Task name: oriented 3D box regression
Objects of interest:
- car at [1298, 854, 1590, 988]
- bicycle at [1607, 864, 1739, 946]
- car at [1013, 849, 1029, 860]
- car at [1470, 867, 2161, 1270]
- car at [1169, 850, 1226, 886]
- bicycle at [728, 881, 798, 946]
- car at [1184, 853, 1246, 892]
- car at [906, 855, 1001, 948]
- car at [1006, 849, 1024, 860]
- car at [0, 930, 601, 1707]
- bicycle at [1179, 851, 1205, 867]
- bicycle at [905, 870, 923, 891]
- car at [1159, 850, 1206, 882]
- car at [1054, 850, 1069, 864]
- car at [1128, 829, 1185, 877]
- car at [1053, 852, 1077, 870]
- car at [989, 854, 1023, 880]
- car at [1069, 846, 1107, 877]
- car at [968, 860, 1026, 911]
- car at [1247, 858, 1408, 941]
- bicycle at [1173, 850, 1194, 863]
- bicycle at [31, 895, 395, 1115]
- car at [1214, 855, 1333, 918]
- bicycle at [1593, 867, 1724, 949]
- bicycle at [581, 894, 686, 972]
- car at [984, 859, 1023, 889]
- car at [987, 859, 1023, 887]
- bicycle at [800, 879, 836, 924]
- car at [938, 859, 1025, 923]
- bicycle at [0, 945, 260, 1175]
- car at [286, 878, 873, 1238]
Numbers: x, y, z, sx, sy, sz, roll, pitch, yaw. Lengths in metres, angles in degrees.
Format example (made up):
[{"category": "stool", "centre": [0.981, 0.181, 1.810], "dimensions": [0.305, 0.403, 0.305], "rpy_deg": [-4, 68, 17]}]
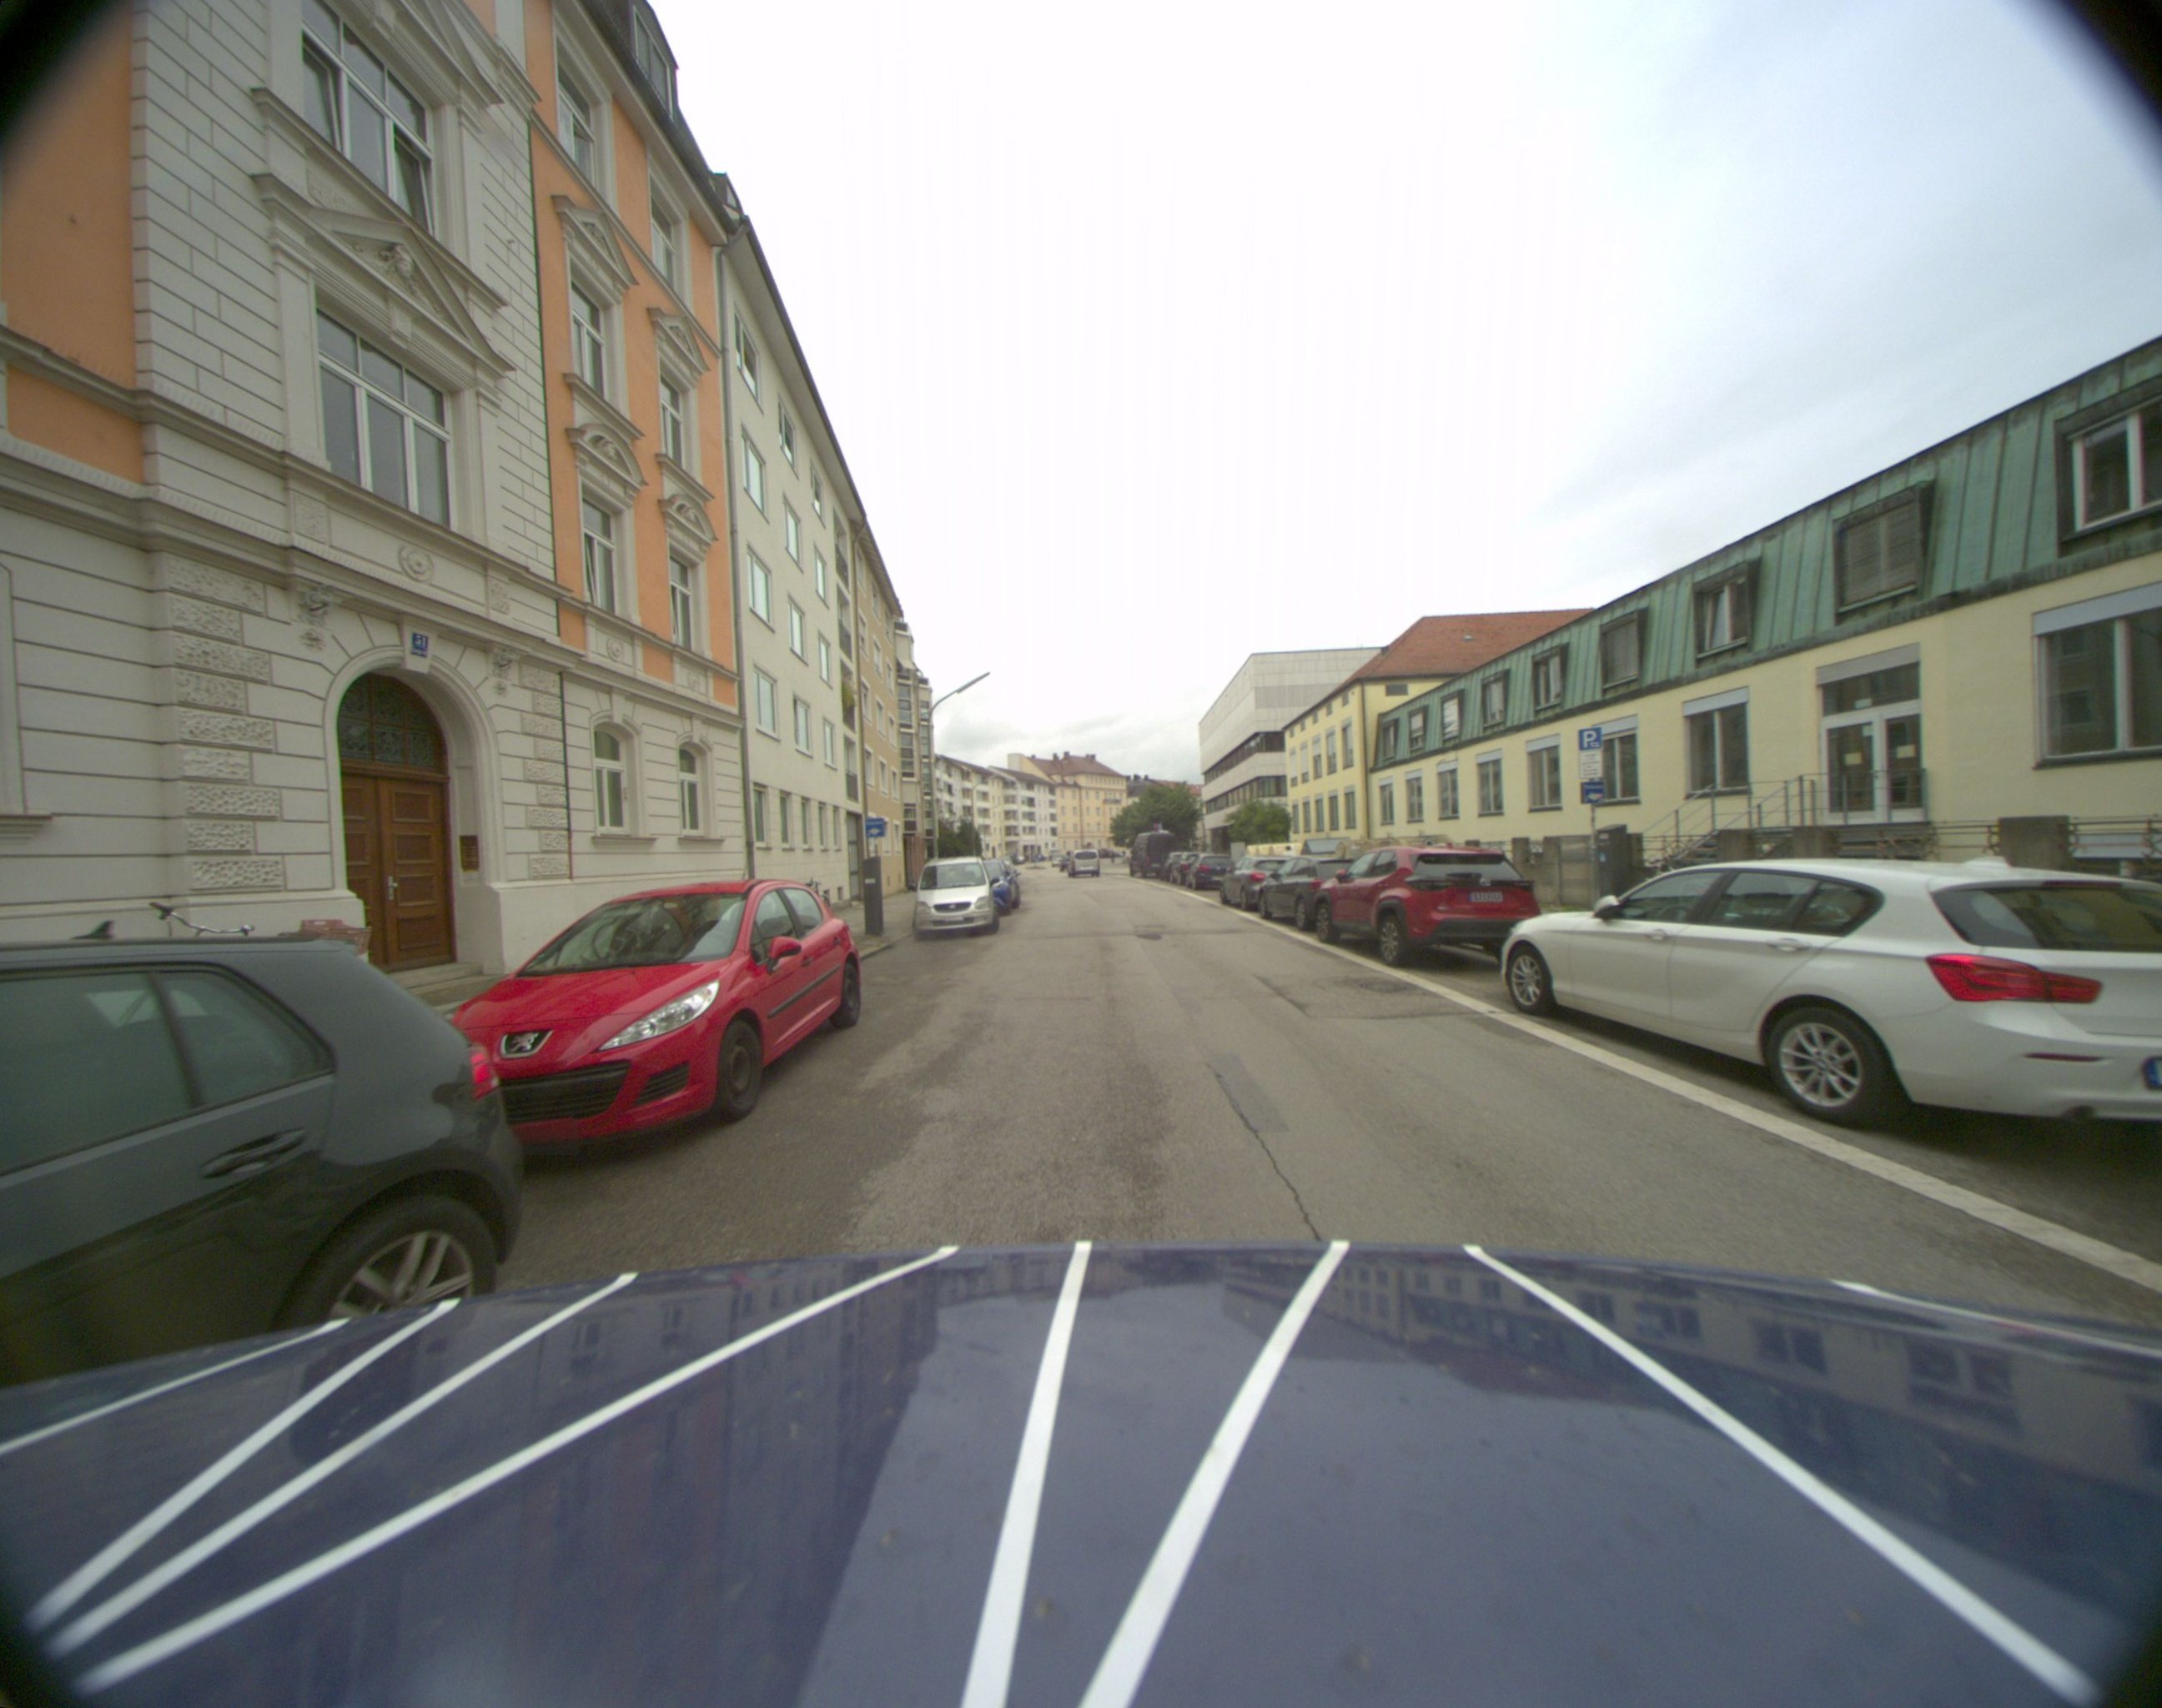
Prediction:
[{"category": "car", "centre": [4.807, 0.767, 10.974], "dimensions": [1.963, 1.473, 4.528], "rpy_deg": [0, 1, -1]}, {"category": "bicycle", "centre": [9.653, 0.781, 12.507], "dimensions": [0.536, 1.178, 2.106], "rpy_deg": [-2, 1, 1]}, {"category": "car", "centre": [-9.649, 0.119, 121.946], "dimensions": [1.998, 1.630, 4.000], "rpy_deg": [-2, 1, 2]}, {"category": "car", "centre": [4.826, 0.891, 5.284], "dimensions": [1.798, 1.421, 4.664], "rpy_deg": [1, 1, 0]}, {"category": "car", "centre": [5.484, 0.645, 36.223], "dimensions": [1.918, 1.578, 4.351], "rpy_deg": [1, 0, -2]}, {"category": "bicycle", "centre": [-6.320, 1.151, 15.220], "dimensions": [0.725, 1.106, 1.993], "rpy_deg": [-2, 0, -7]}, {"category": "car", "centre": [5.458, 0.723, 31.461], "dimensions": [1.918, 1.473, 4.532], "rpy_deg": [1, 0, 2]}, {"category": "car", "centre": [-2.656, 0.909, 16.538], "dimensions": [1.686, 1.664, 3.802], "rpy_deg": [-4, 1, -6]}, {"category": "car", "centre": [-9.887, 0.046, 113.825], "dimensions": [1.998, 1.587, 4.000], "rpy_deg": [-2, 1, 3]}, {"category": "car", "centre": [-2.815, 1.057, 0.738], "dimensions": [1.691, 1.394, 4.364], "rpy_deg": [-3, 1, 3]}, {"category": "bicycle", "centre": [8.516, 0.377, 58.333], "dimensions": [1.815, 1.145, 0.519], "rpy_deg": [-3, 1, -1]}, {"category": "bicycle", "centre": [-8.930, 1.395, 40.741], "dimensions": [0.678, 1.027, 1.752], "rpy_deg": [-2, 1, -5]}, {"category": "car", "centre": [5.378, 0.601, 40.729], "dimensions": [1.885, 1.626, 4.348], "rpy_deg": [1, 0, -1]}, {"category": "car", "centre": [-2.438, 0.386, 93.544], "dimensions": [1.797, 1.663, 4.148], "rpy_deg": [-3, 0, -2]}, {"category": "car", "centre": [4.597, -0.081, 47.259], "dimensions": [2.220, 2.837, 6.192], "rpy_deg": [0, 1, -7]}, {"category": "car", "centre": [-1.517, 0.619, 68.932], "dimensions": [1.666, 1.466, 3.704], "rpy_deg": [-3, 2, -8]}, {"category": "car", "centre": [-5.130, 0.837, 51.581], "dimensions": [1.883, 1.636, 4.640], "rpy_deg": [-3, 1, -10]}, {"category": "car", "centre": [0.384, 0.488, 51.348], "dimensions": [1.921, 1.837, 5.318], "rpy_deg": [-3, 0, -6]}, {"category": "car", "centre": [-2.898, 1.044, 26.625], "dimensions": [1.710, 1.446, 4.399], "rpy_deg": [-5, 1, -5]}, {"category": "car", "centre": [4.839, 0.816, 15.634], "dimensions": [1.754, 1.397, 4.353], "rpy_deg": [0, 1, -2]}, {"category": "bicycle", "centre": [9.268, 0.230, 68.928], "dimensions": [1.815, 1.145, 0.519], "rpy_deg": [-3, 1, -1]}, {"category": "bicycle", "centre": [-6.891, 1.093, 6.254], "dimensions": [0.597, 1.377, 2.091], "rpy_deg": [-2, 0, -2]}, {"category": "car", "centre": [5.047, 0.790, 20.671], "dimensions": [2.019, 1.410, 4.614], "rpy_deg": [0, 1, -1]}, {"category": "bicycle", "centre": [9.291, 0.826, 12.341], "dimensions": [0.536, 1.141, 2.106], "rpy_deg": [-2, 1, 1]}, {"category": "bicycle", "centre": [-6.971, 1.199, 11.946], "dimensions": [0.597, 1.018, 1.817], "rpy_deg": [-2, 0, -2]}, {"category": "car", "centre": [-4.189, 1.037, 40.893], "dimensions": [1.859, 1.406, 5.011], "rpy_deg": [-3, 0, -6]}, {"category": "car", "centre": [-4.675, 1.105, 46.295], "dimensions": [1.763, 1.358, 4.776], "rpy_deg": [-7, 1, -8]}, {"category": "bicycle", "centre": [-7.130, 1.255, 20.669], "dimensions": [0.530, 1.065, 1.999], "rpy_deg": [-2, 0, -9]}, {"category": "car", "centre": [-2.731, 0.971, 21.832], "dimensions": [1.746, 1.486, 4.548], "rpy_deg": [-3, 0, 1]}, {"category": "bicycle", "centre": [-6.257, 1.211, 4.311], "dimensions": [2.096, 1.132, 0.583], "rpy_deg": [-2, 1, -42]}, {"category": "car", "centre": [-3.000, 1.059, 5.784], "dimensions": [1.691, 1.491, 4.146], "rpy_deg": [-4, 0, -2]}]
